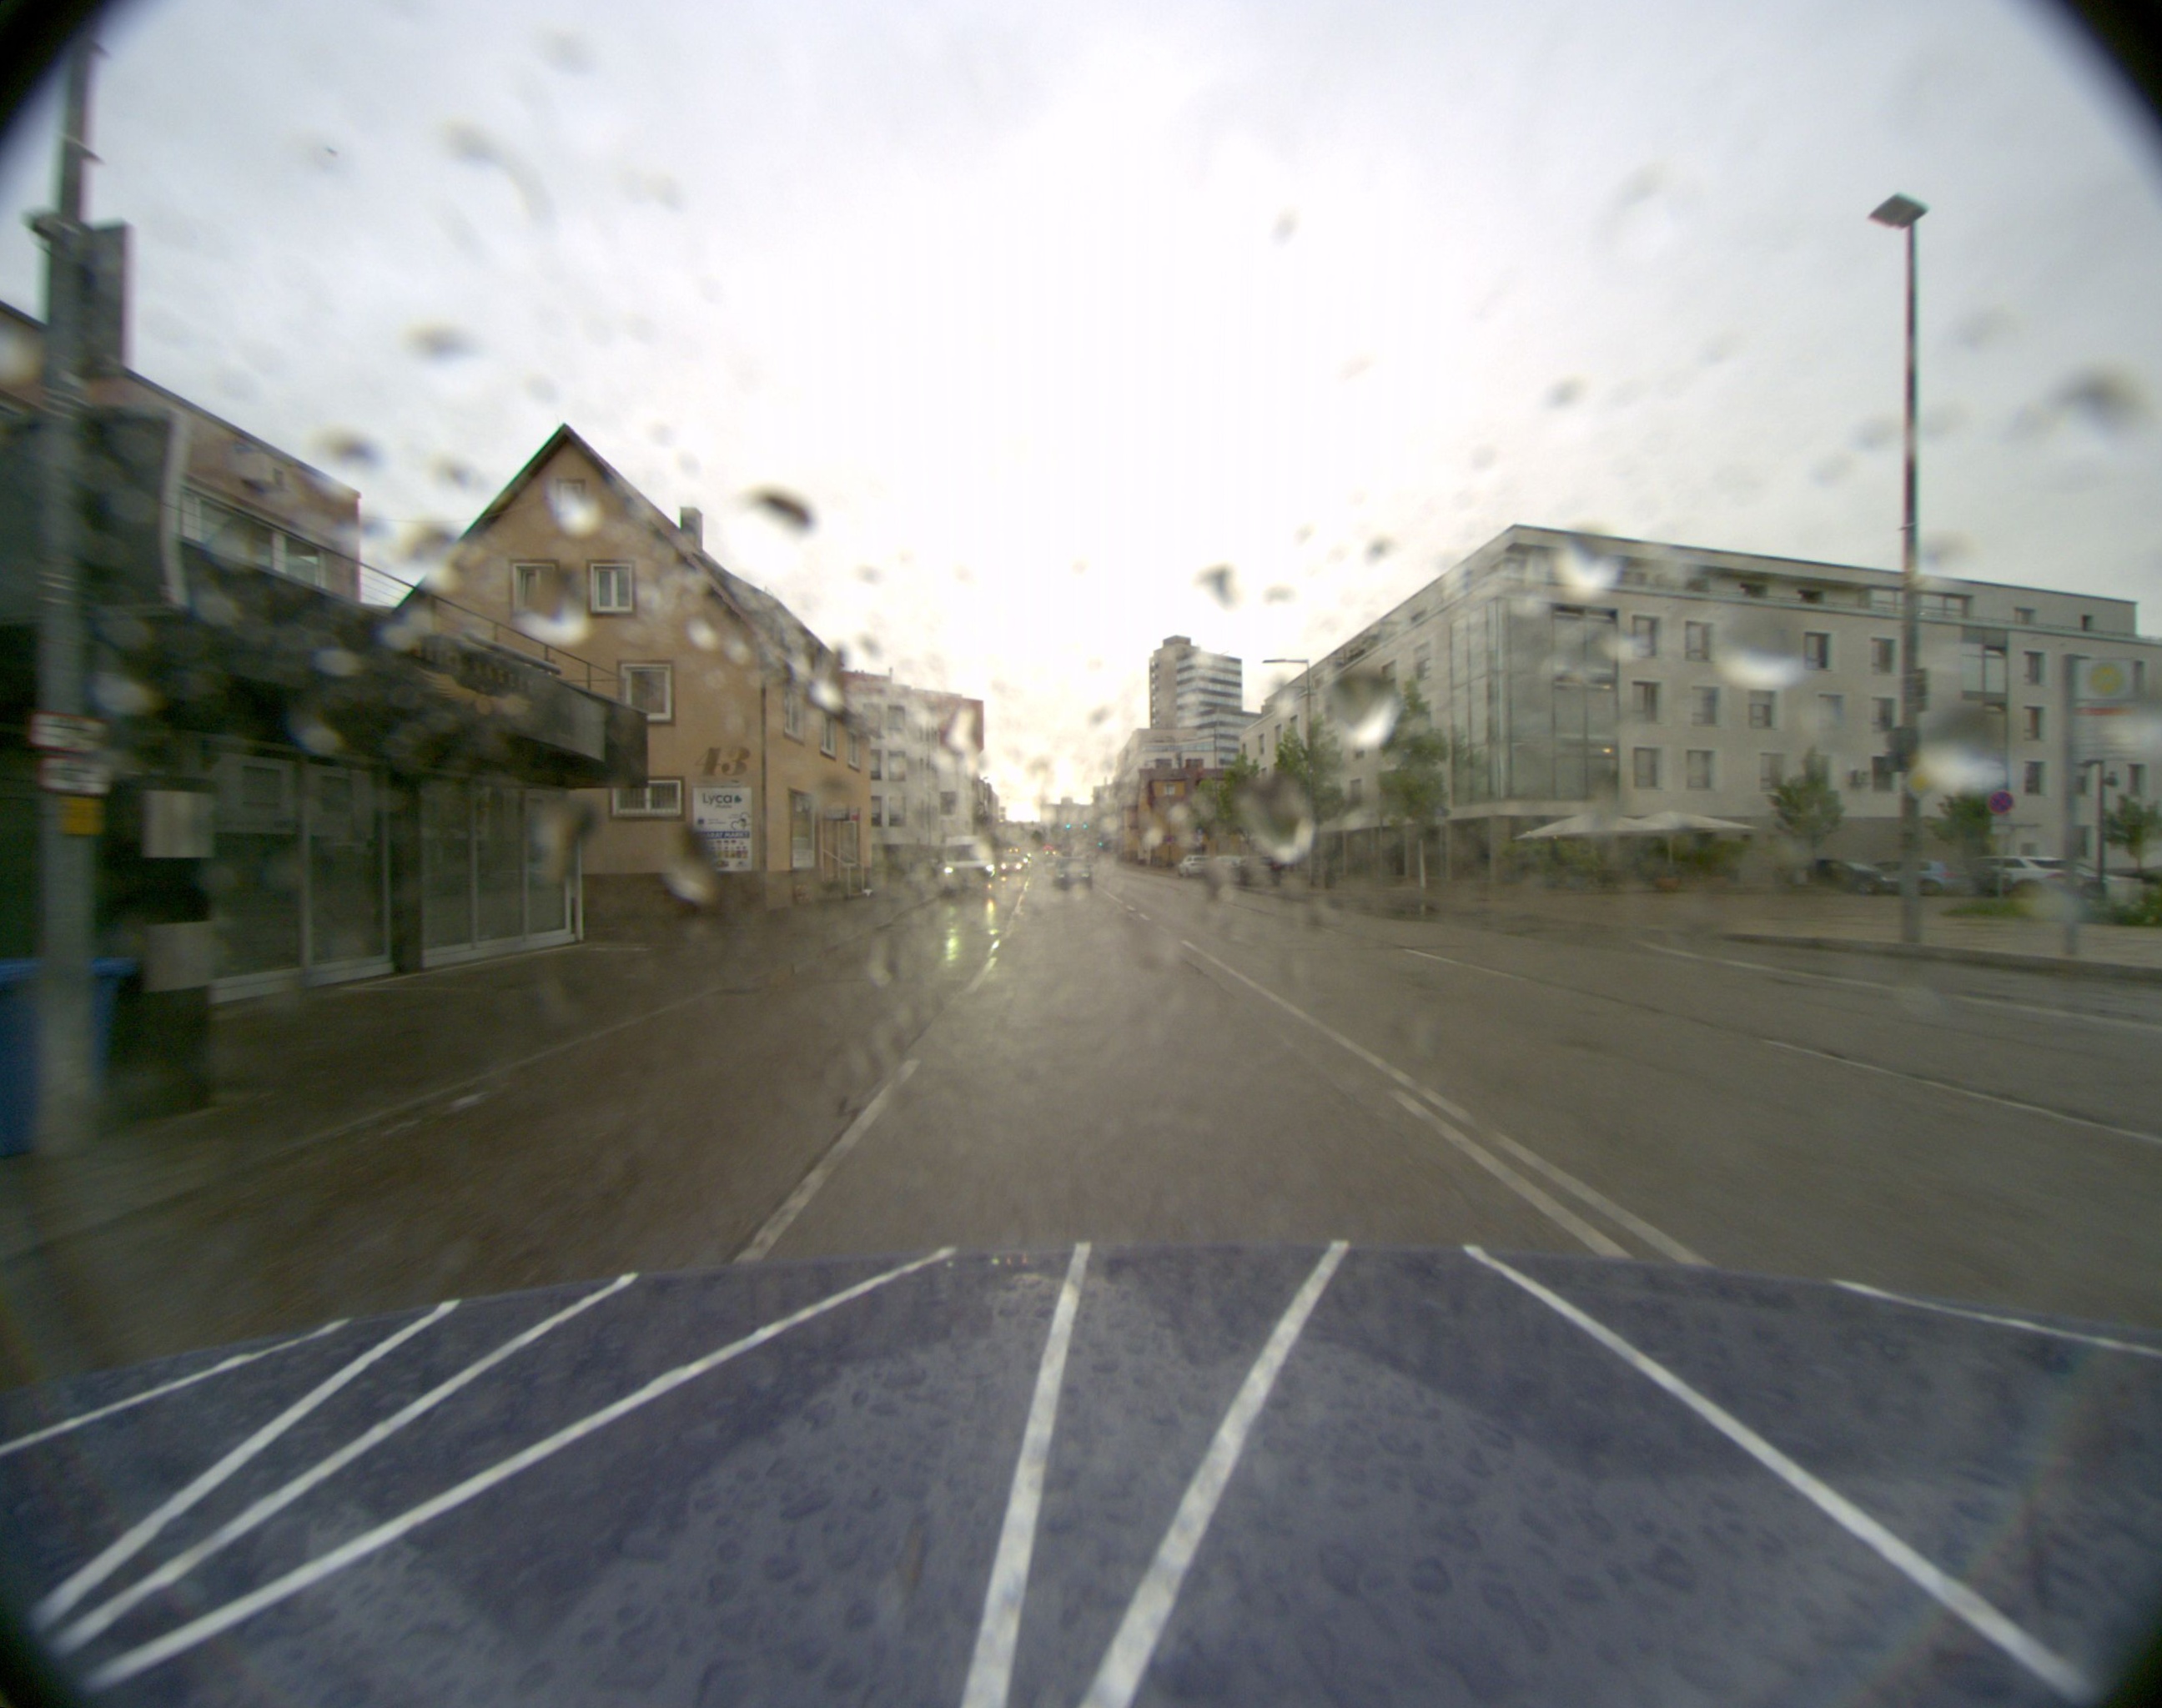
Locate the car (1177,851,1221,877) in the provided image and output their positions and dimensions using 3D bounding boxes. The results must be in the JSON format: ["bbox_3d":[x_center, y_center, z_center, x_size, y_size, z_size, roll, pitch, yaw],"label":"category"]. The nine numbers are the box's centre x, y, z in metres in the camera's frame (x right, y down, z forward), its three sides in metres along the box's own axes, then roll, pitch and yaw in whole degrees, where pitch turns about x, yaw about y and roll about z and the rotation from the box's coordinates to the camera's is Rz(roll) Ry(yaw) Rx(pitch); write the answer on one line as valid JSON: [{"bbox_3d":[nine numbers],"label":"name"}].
[{"bbox_3d":[7.556,0.610,49.087,1.800,1.454,4.475,-1,2,-5],"label":"car"}]

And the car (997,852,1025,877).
[{"bbox_3d":[-5.341,0.760,58.101,2.017,1.613,4.356,-1,3,-5],"label":"car"}]

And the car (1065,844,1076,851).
[{"bbox_3d":[-2.043,-1.260,145.588,1.773,1.406,4.522,0,2,-4],"label":"car"}]

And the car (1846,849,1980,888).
[{"bbox_3d":[34.838,0.553,31.927,1.503,1.451,3.427,-1,2,-20],"label":"car"}]

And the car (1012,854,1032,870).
[{"bbox_3d":[-6.648,0.889,84.759,2.059,1.638,4.476,0,2,-6],"label":"car"}]

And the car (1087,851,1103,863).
[{"bbox_3d":[1.992,0.432,108.770,1.886,1.515,4.181,0,2,-3],"label":"car"}]

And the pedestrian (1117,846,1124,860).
[{"bbox_3d":[5.609,-0.155,107.320,0.663,1.911,0.945,-3,3,-11],"label":"pedestrian"}]

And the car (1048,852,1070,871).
[{"bbox_3d":[-1.764,0.580,59.490,1.662,1.300,3.992,0,2,-3],"label":"car"}]

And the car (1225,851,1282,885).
[{"bbox_3d":[8.436,0.635,37.551,1.592,1.573,4.469,0,0,-3],"label":"car"}]

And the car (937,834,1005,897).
[{"bbox_3d":[-4.583,0.361,32.659,2.297,2.369,6.620,0,2,-3],"label":"car"}]

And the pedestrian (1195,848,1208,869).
[{"bbox_3d":[10.026,0.362,63.282,0.803,1.778,0.881,0,2,-8],"label":"pedestrian"}]

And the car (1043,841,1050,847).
[{"bbox_3d":[-8.972,-2.617,198.416,1.711,1.508,4.389,0,2,-3],"label":"car"}]

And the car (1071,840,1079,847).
[{"bbox_3d":[-1.452,-2.726,197.319,2.006,1.609,4.946,0,2,0],"label":"car"}]

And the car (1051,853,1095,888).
[{"bbox_3d":[-0.424,0.723,35.075,1.689,1.373,3.790,-2,2,-5],"label":"car"}]

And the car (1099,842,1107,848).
[{"bbox_3d":[5.767,-2.399,196.317,1.758,1.402,3.728,0,2,-3],"label":"car"}]

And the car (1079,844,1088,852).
[{"bbox_3d":[0.417,-1.208,157.452,1.654,1.410,4.136,2,2,-2],"label":"car"}]

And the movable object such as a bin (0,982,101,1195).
[{"bbox_3d":[-6.061,1.278,4.091,0.637,1.068,0.698,0,-1,1],"label":"movable object such as a bin"}]

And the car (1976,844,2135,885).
[{"bbox_3d":[44.255,0.403,34.643,2.002,1.680,3.992,-1,2,-21],"label":"car"}]

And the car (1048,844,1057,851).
[{"bbox_3d":[-5.790,-1.333,152.741,1.720,1.442,4.195,0,2,-4],"label":"car"}]

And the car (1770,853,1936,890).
[{"bbox_3d":[31.791,0.667,31.503,1.796,1.288,4.462,-1,2,-19],"label":"car"}]

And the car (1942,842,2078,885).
[{"bbox_3d":[41.005,0.361,33.628,1.492,1.766,3.452,-1,2,-19],"label":"car"}]

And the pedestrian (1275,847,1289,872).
[{"bbox_3d":[14.181,0.388,53.692,0.809,1.728,1.004,1,2,23],"label":"pedestrian"}]

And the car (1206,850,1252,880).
[{"bbox_3d":[8.330,0.600,43.180,1.695,1.501,4.575,0,2,0],"label":"car"}]

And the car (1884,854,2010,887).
[{"bbox_3d":[37.235,0.674,32.756,1.398,1.214,3.253,-1,2,-19],"label":"car"}]
